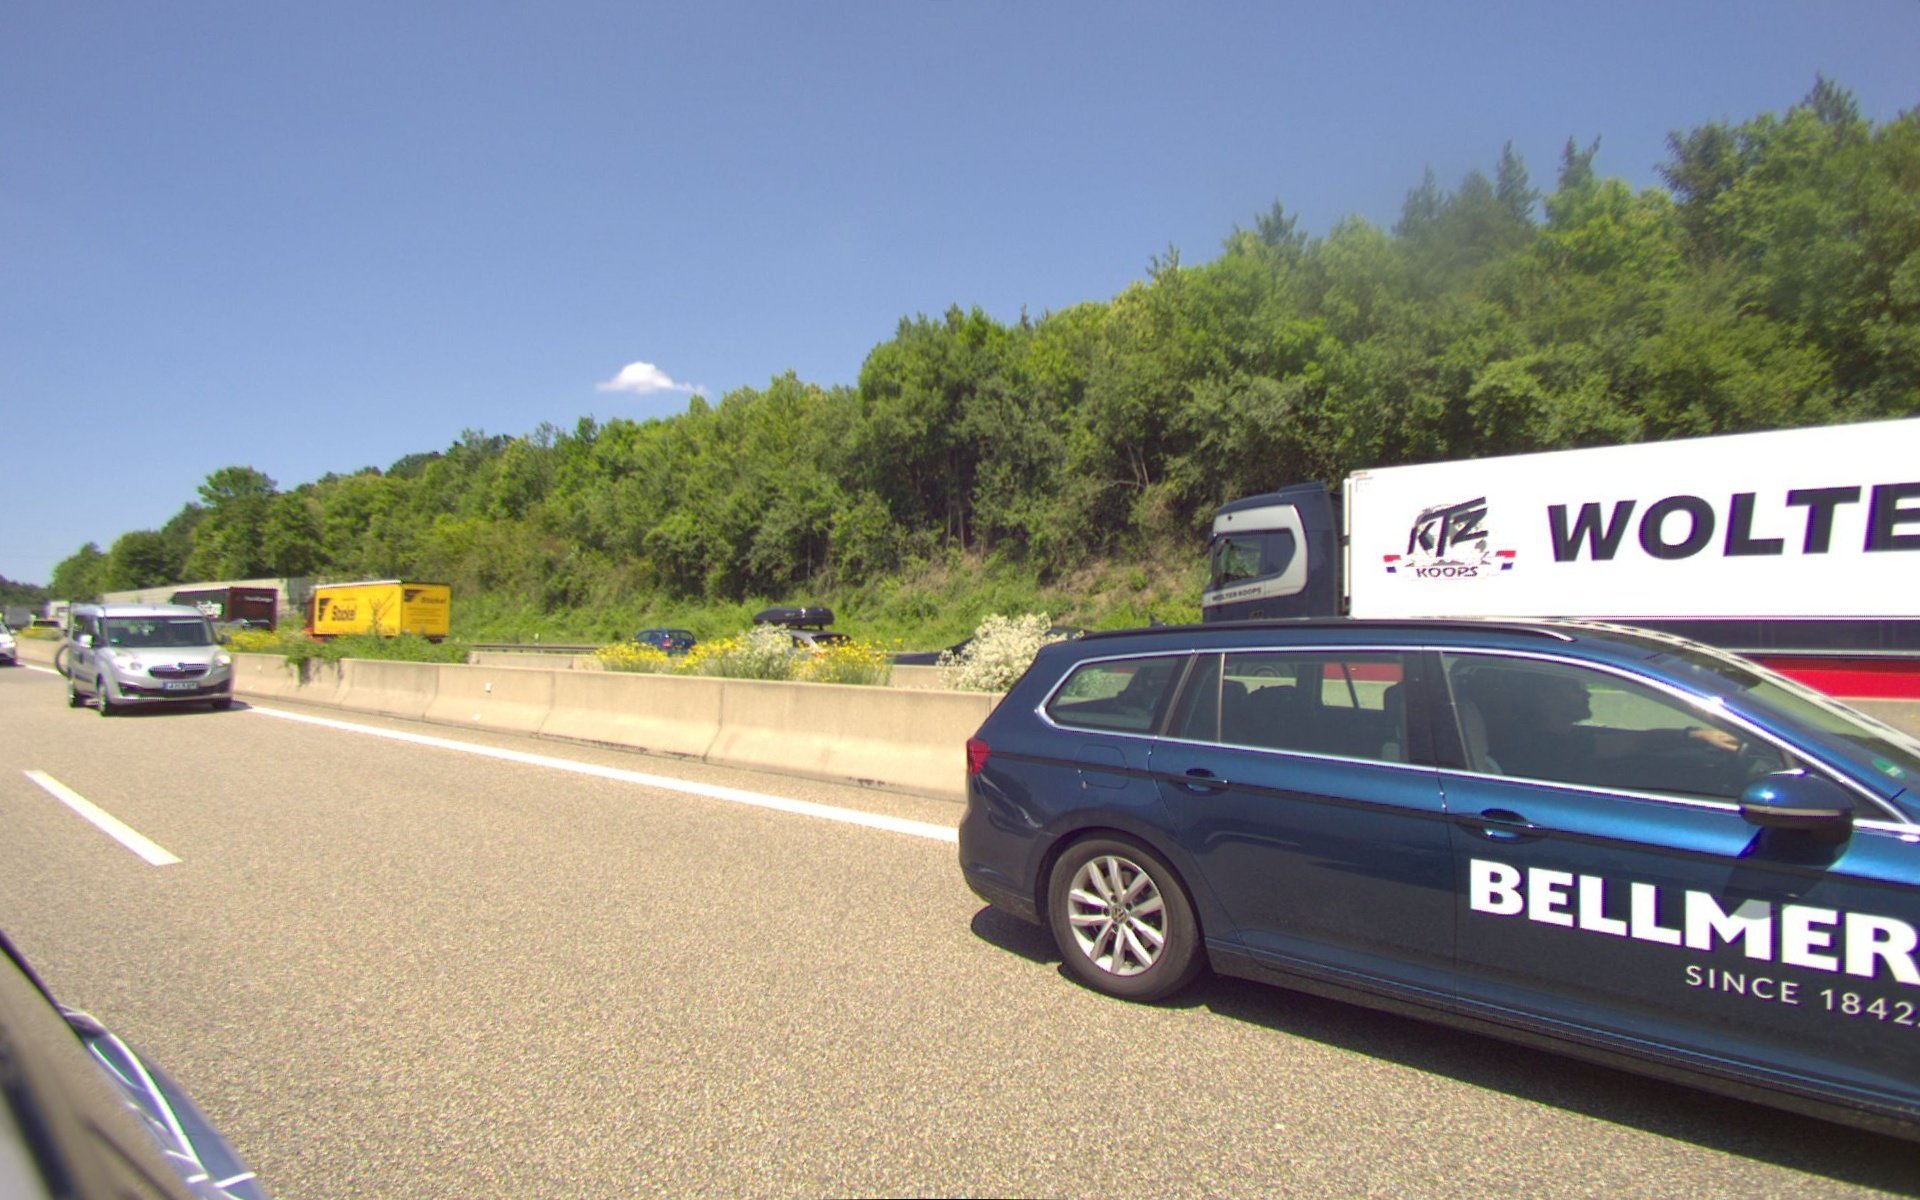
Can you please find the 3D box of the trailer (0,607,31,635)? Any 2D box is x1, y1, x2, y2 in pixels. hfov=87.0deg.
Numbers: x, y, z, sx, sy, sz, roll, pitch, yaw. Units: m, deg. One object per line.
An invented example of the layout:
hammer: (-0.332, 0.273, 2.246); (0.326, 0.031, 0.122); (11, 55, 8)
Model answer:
trailer: (-149.274, 3.298, 159.420); (14.736, 4.197, 2.804); (-1, -3, 42)

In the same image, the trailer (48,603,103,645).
trailer: (-96.910, 2.577, 110.753); (14.033, 4.371, 2.773); (0, -3, 42)

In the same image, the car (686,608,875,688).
car: (-4.077, 1.029, 22.576); (4.512, 1.619, 1.669); (0, -3, 41)

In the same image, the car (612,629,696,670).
car: (-11.827, 1.880, 39.024); (3.705, 1.519, 1.395); (-2, -2, 42)

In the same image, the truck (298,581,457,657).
truck: (-34.808, 1.112, 59.868); (16.259, 4.013, 3.005); (0, -2, 41)

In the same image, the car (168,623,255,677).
car: (-30.296, 2.017, 40.936); (3.998, 2.029, 1.972); (0, -3, 41)

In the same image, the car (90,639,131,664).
car: (-72.962, 4.423, 86.903); (3.998, 2.029, 1.973); (0, -3, 41)

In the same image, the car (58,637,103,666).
car: (-66.868, 3.895, 76.913); (3.998, 2.029, 1.973); (0, -3, 41)

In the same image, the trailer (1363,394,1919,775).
trailer: (12.747, -0.103, 13.403); (13.325, 4.562, 3.685); (0, -3, 41)

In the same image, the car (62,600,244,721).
car: (-14.004, 0.984, 17.491); (3.998, 1.858, 1.757); (-1, -2, 41)

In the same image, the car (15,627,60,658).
car: (-66.717, 3.063, 73.168); (4.467, 2.029, 1.860); (0, -4, 42)

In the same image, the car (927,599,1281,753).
car: (1.678, 0.854, 12.635); (4.124, 1.619, 1.669); (0, -3, 41)

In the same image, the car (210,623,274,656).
car: (-36.784, 1.991, 51.825); (4.420, 1.570, 1.667); (0, -3, 42)

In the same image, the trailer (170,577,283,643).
trailer: (-49.031, 0.681, 67.365); (13.881, 4.004, 2.876); (0, -3, 41)

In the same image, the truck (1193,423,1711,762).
truck: (8.214, 0.001, 17.385); (7.321, 4.562, 3.686); (0, -3, 41)

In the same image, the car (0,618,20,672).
car: (-34.426, 1.535, 35.409); (4.001, 1.852, 1.971); (-1, -4, 44)

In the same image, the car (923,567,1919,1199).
car: (2.177, 0.694, 3.459); (4.728, 1.438, 1.714); (-1, -4, 42)
